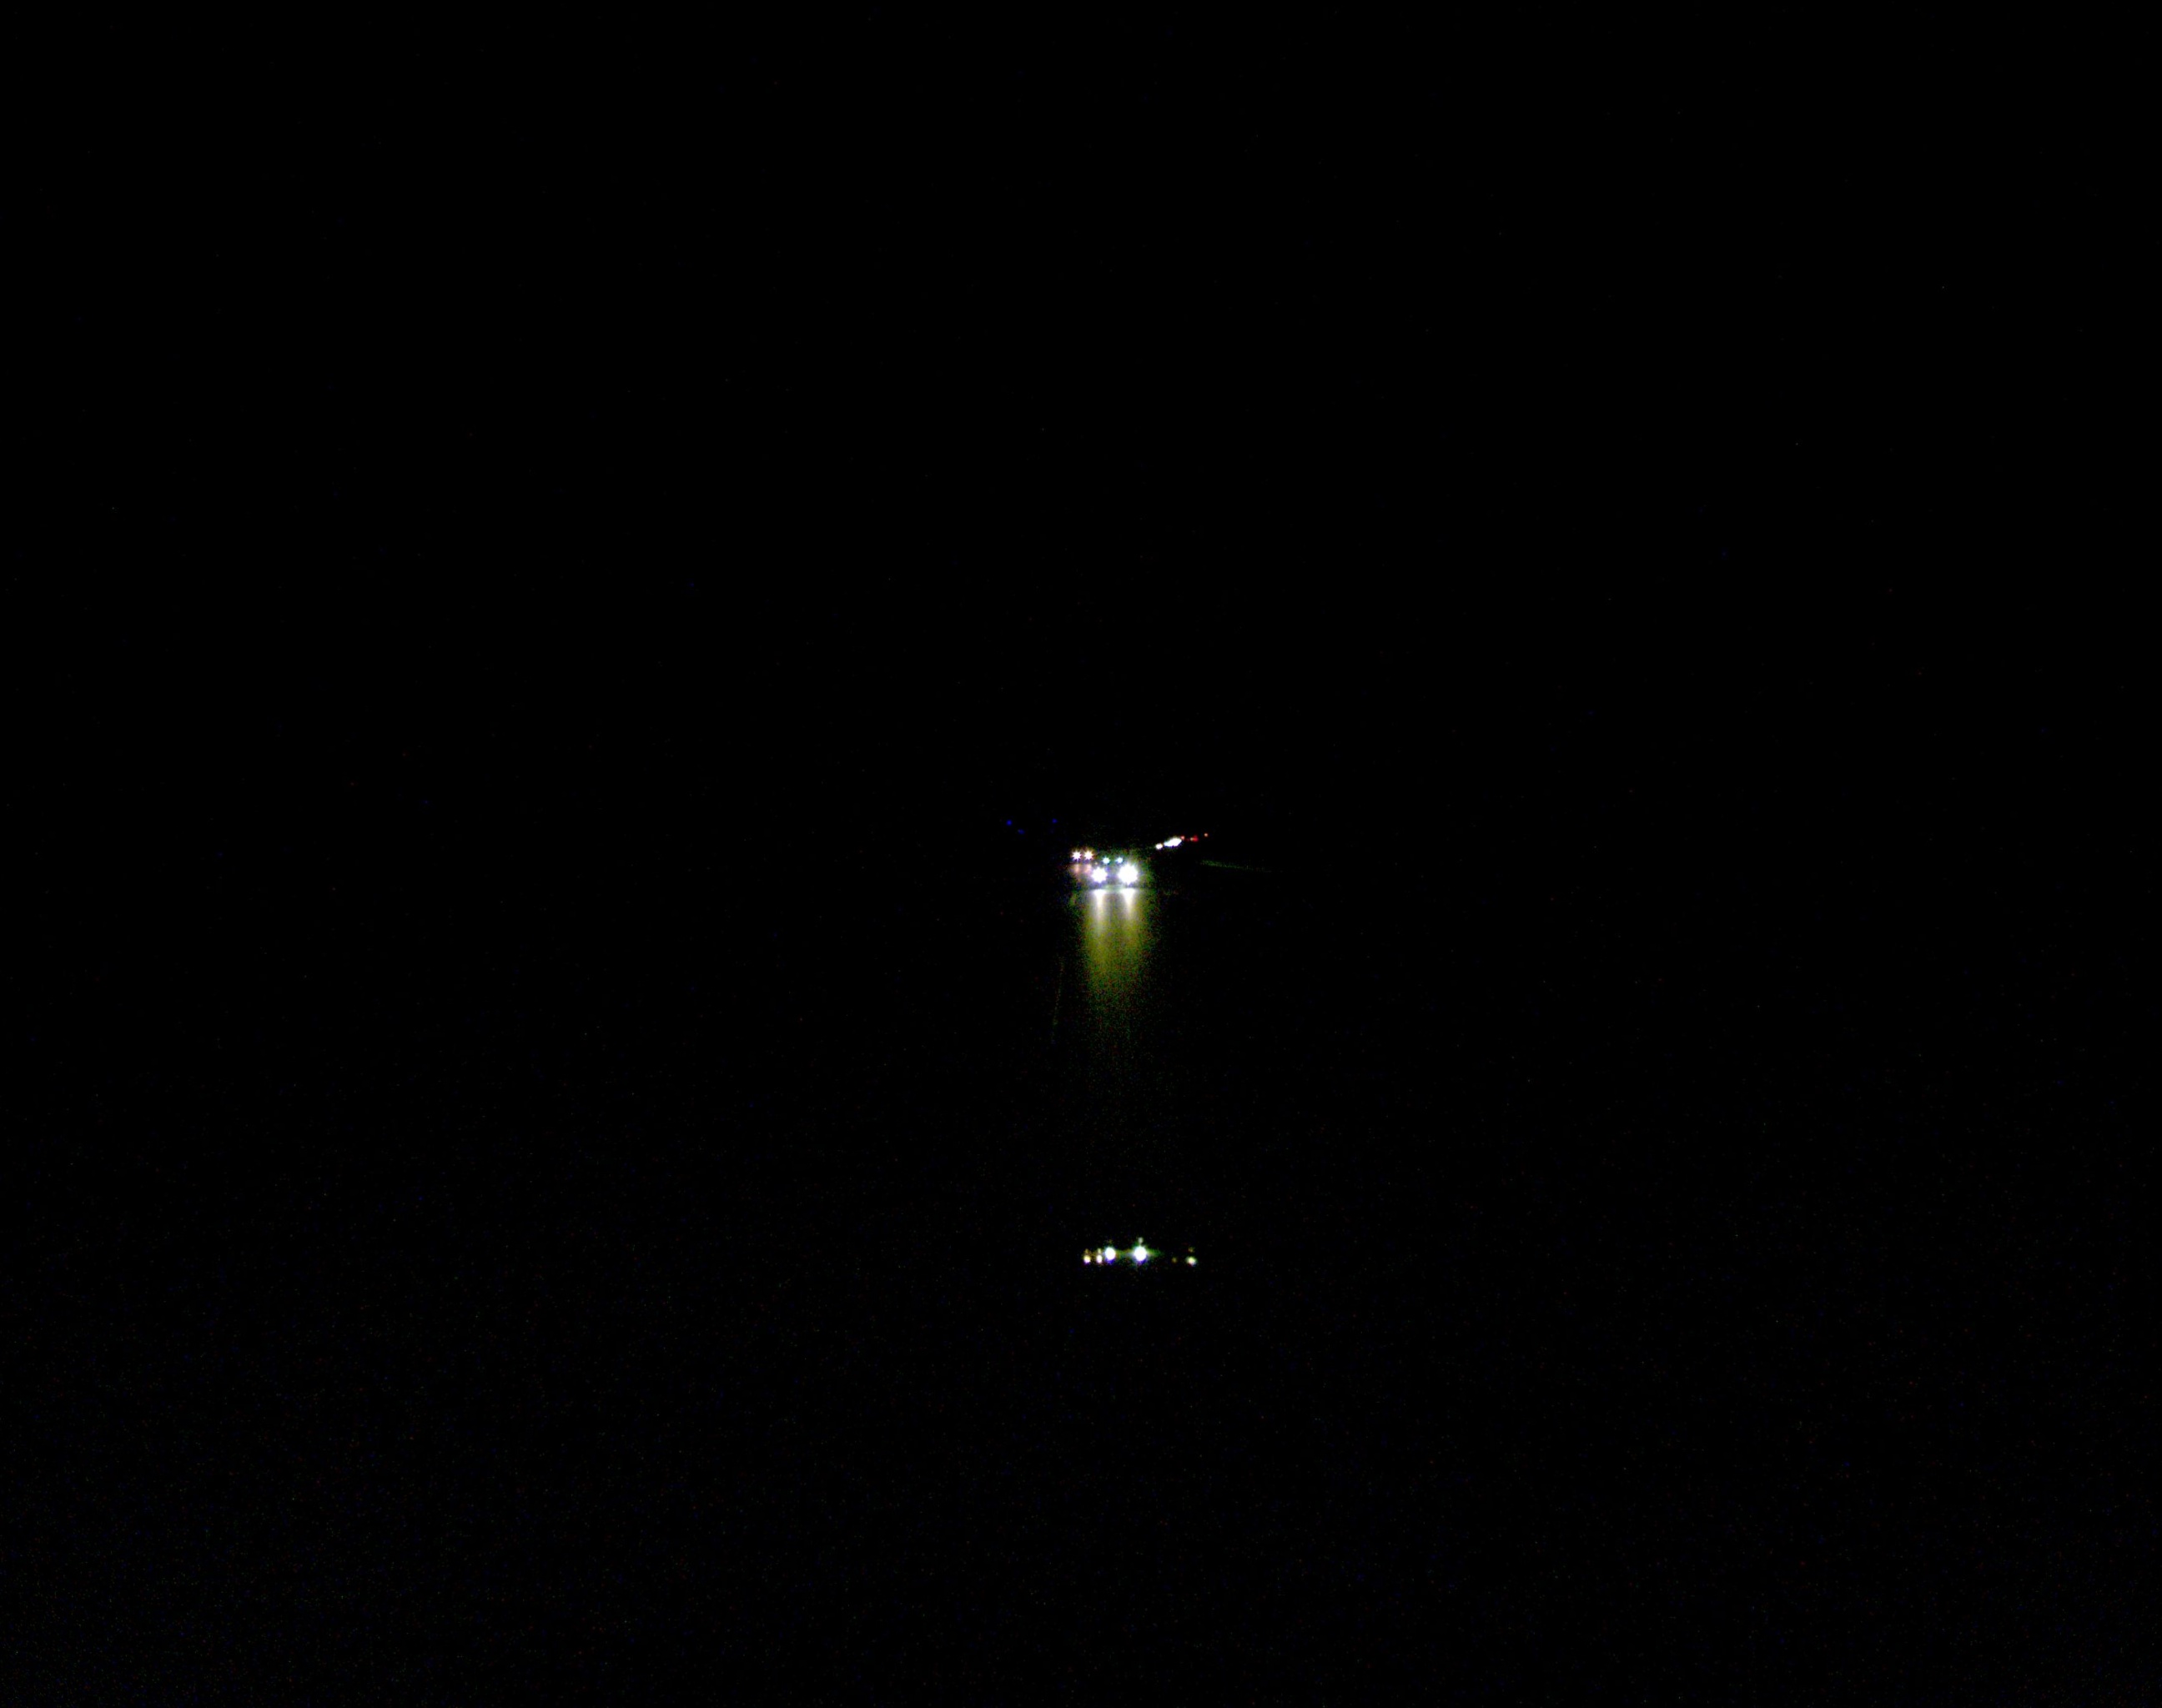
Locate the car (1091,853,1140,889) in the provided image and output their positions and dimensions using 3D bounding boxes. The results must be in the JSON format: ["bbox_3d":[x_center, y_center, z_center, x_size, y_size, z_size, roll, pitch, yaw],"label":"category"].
[{"bbox_3d":[1.642,0.737,35.153,1.832,1.404,4.002,-3,1,8],"label":"car"}]

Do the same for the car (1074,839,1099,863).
[{"bbox_3d":[0.752,-0.481,98.425,2.533,2.888,6.229,-3,1,5],"label":"car"}]

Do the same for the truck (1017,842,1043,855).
[{"bbox_3d":[-16.683,-1.862,248.702,3.065,3.903,9.638,-5,2,-41],"label":"truck"}]

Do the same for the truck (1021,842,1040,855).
[{"bbox_3d":[-16.137,-1.719,242.027,2.537,3.628,6.194,-5,2,-39],"label":"truck"}]

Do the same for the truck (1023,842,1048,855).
[{"bbox_3d":[-15.238,-1.818,253.132,3.065,3.667,9.638,-5,2,-41],"label":"truck"}]

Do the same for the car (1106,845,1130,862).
[{"bbox_3d":[3.618,-0.060,73.732,1.997,1.455,4.002,-3,1,8],"label":"car"}]
